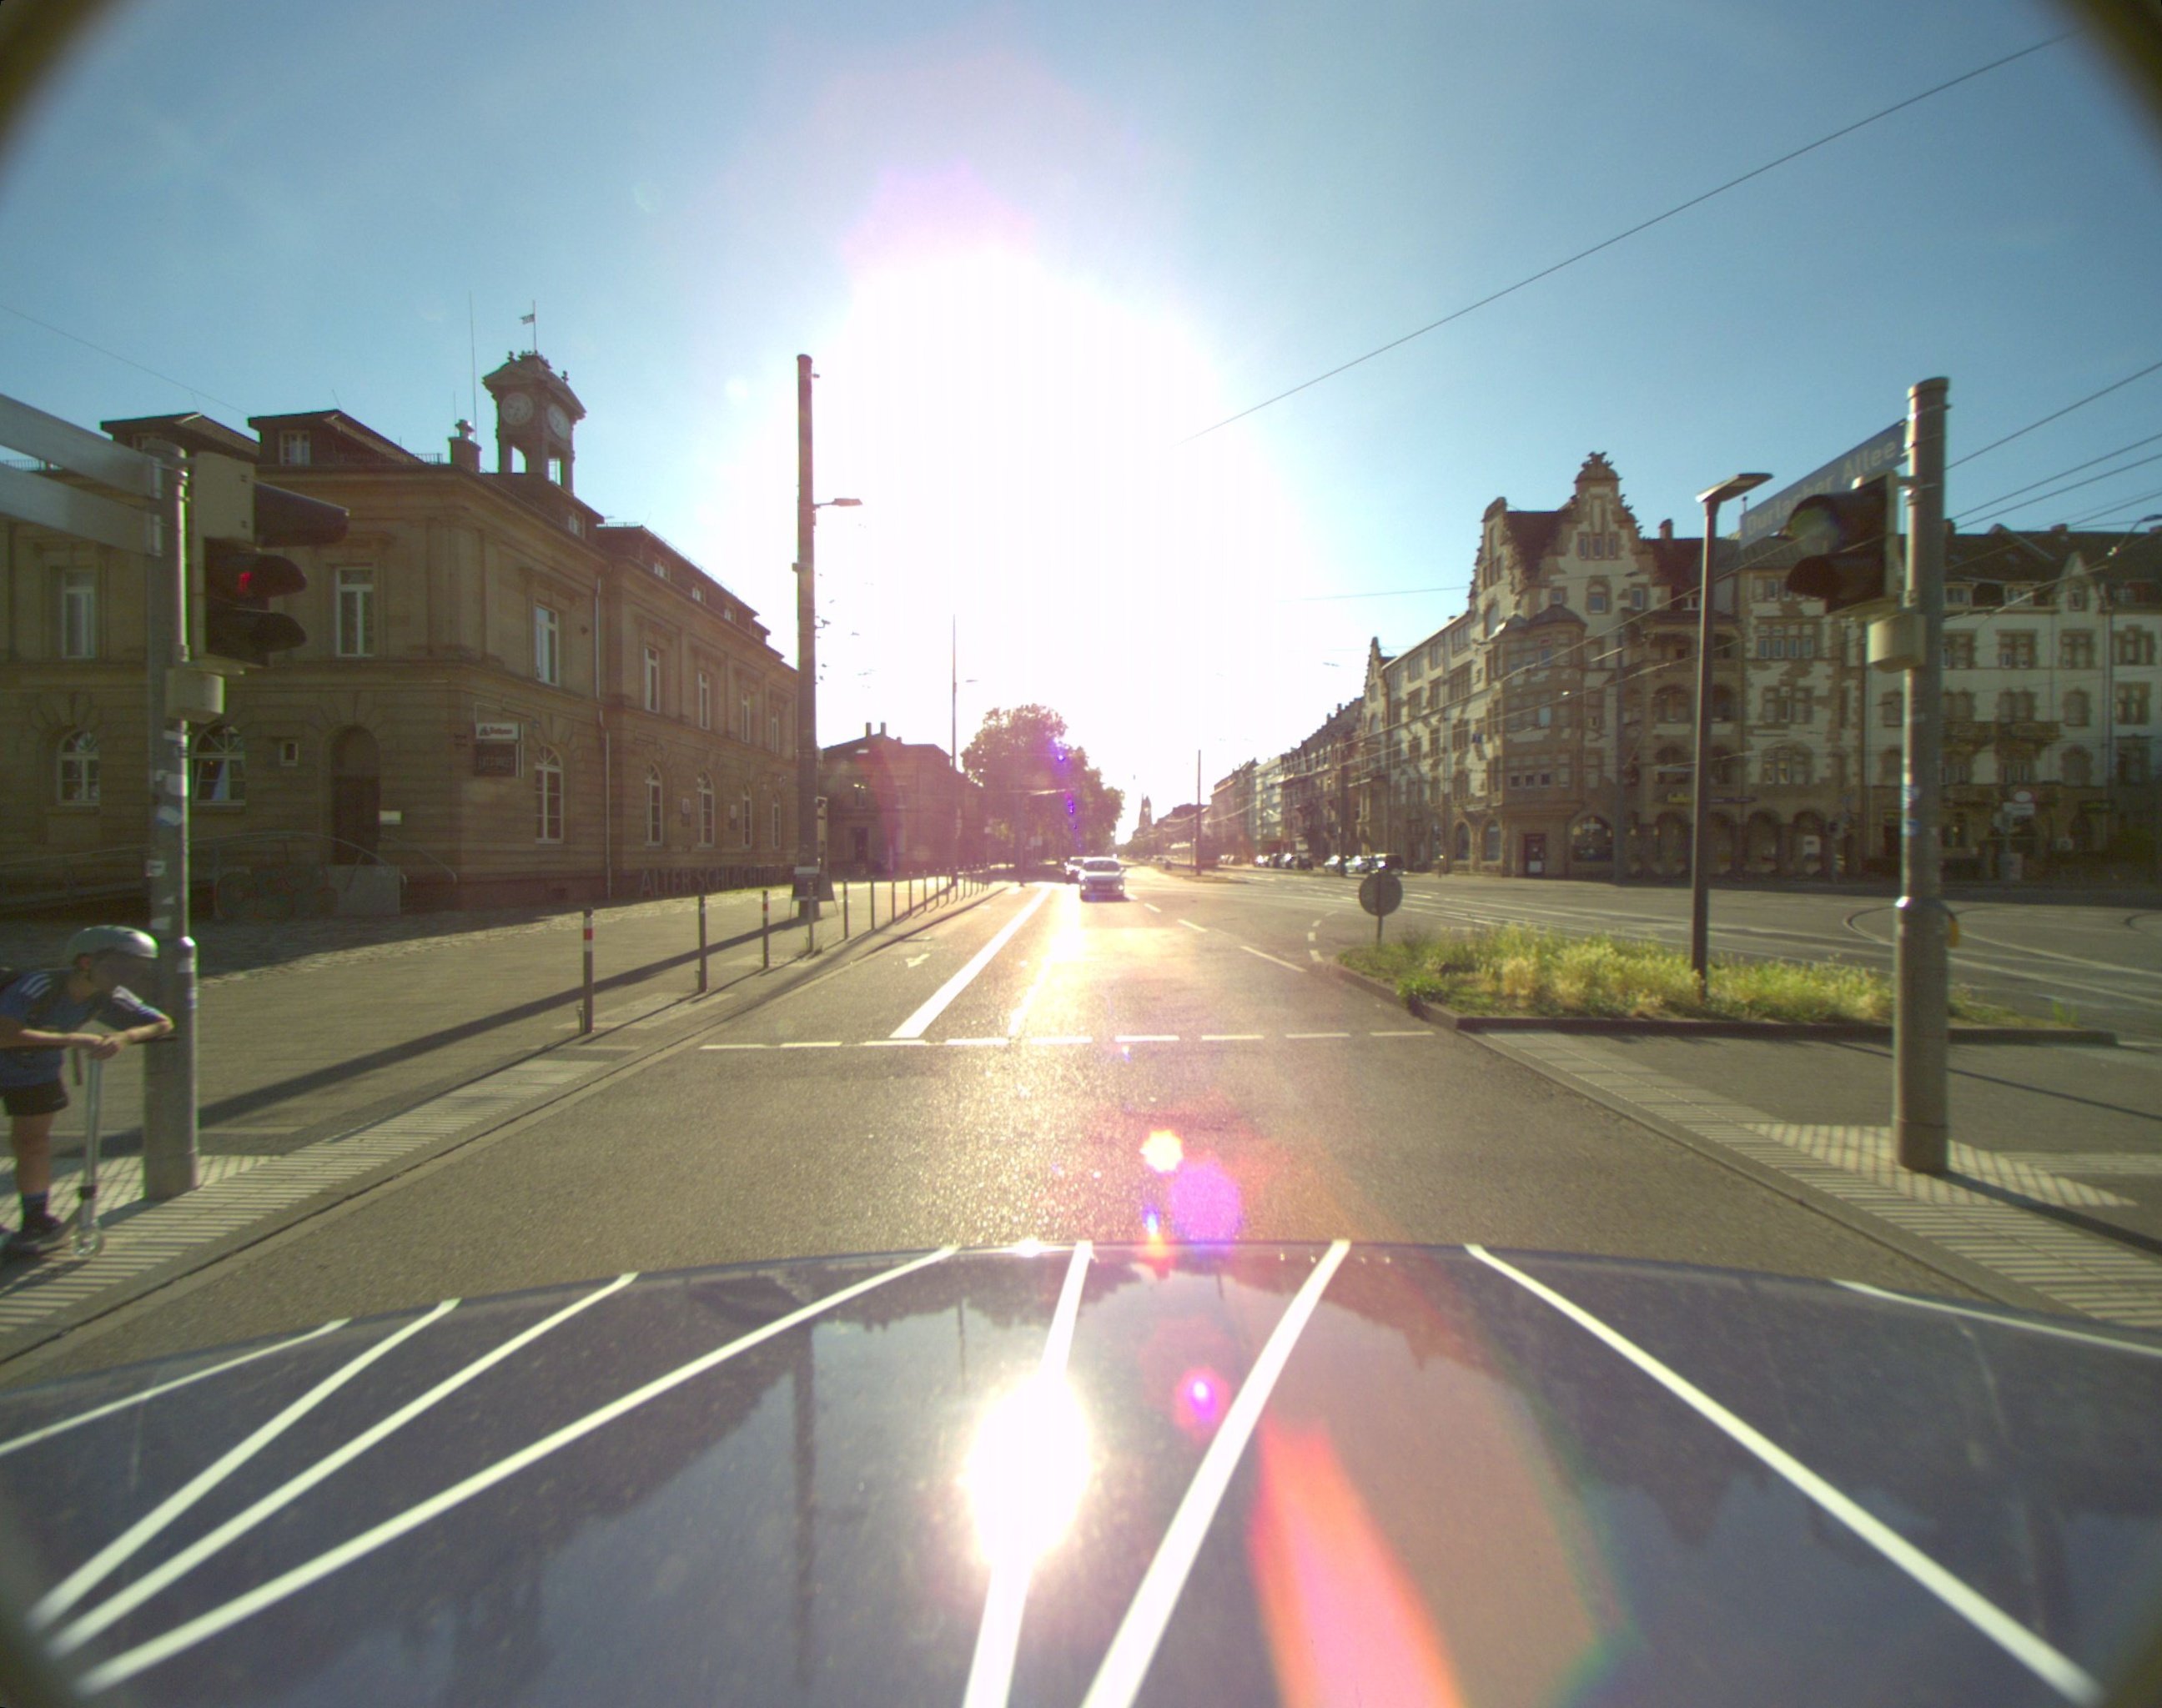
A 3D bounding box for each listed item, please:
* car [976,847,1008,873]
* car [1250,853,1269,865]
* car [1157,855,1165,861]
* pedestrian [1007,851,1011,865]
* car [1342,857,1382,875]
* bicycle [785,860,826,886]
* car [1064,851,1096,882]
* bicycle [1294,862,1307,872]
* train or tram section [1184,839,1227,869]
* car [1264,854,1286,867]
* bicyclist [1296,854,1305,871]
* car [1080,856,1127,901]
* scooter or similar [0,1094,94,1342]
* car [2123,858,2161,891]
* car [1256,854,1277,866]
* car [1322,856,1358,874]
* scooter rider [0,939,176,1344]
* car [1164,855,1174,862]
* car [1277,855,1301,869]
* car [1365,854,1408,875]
[{"bbox_3d":[-7.303,0.479,62.547,1.833,2.034,4.001,-1,1,5],"label":"car"},{"bbox_3d":[24.362,0.715,103.923,1.741,1.516,4.000,-2,0,1],"label":"car"},{"bbox_3d":[23.235,1.176,219.902,1.780,1.660,4.000,0,0,0],"label":"car"},{"bbox_3d":[-8.531,0.483,89.714,0.364,1.635,0.390,0,1,2],"label":"pedestrian"},{"bbox_3d":[24.141,1.004,65.365,1.727,1.467,4.432,0,0,-1],"label":"car"},{"bbox_3d":[-12.805,0.885,35.333,1.650,1.174,0.690,1,1,-1],"label":"bicycle"},{"bbox_3d":[-0.007,0.641,41.117,1.649,1.555,3.666,-1,0,1],"label":"car"},{"bbox_3d":[21.806,1.281,75.442,0.607,0.996,2.069,0,0,-1],"label":"bicycle"},{"bbox_3d":[15.860,0.081,98.459,2.781,3.378,19.477,-1,-1,1],"label":"train or tram section"},{"bbox_3d":[23.955,0.809,94.033,1.741,1.516,4.000,-2,0,1],"label":"car"},{"bbox_3d":[21.809,0.848,75.524,0.683,1.609,0.630,0,0,-1],"label":"bicyclist"},{"bbox_3d":[0.826,0.874,28.843,1.649,1.555,3.666,-1,0,1],"label":"car"},{"bbox_3d":[-4.371,1.342,2.844,1.023,0.806,0.265,0,1,1],"label":"scooter or similar"},{"bbox_3d":[53.027,0.959,36.397,3.997,1.565,1.727,0,0,-2],"label":"car"},{"bbox_3d":[24.208,0.758,99.325,1.741,1.516,4.000,-2,0,1],"label":"car"},{"bbox_3d":[24.105,1.010,70.768,1.741,1.516,3.999,-2,0,-4],"label":"car"},{"bbox_3d":[-4.203,1.054,2.924,0.703,1.388,0.600,0,1,2],"label":"scooter rider"},{"bbox_3d":[20.345,1.077,175.606,1.780,1.660,4.000,0,0,0],"label":"car"},{"bbox_3d":[23.979,0.862,87.875,1.741,1.516,4.000,-2,0,1],"label":"car"},{"bbox_3d":[24.094,0.807,60.061,1.780,1.660,4.000,0,0,0],"label":"car"}]
